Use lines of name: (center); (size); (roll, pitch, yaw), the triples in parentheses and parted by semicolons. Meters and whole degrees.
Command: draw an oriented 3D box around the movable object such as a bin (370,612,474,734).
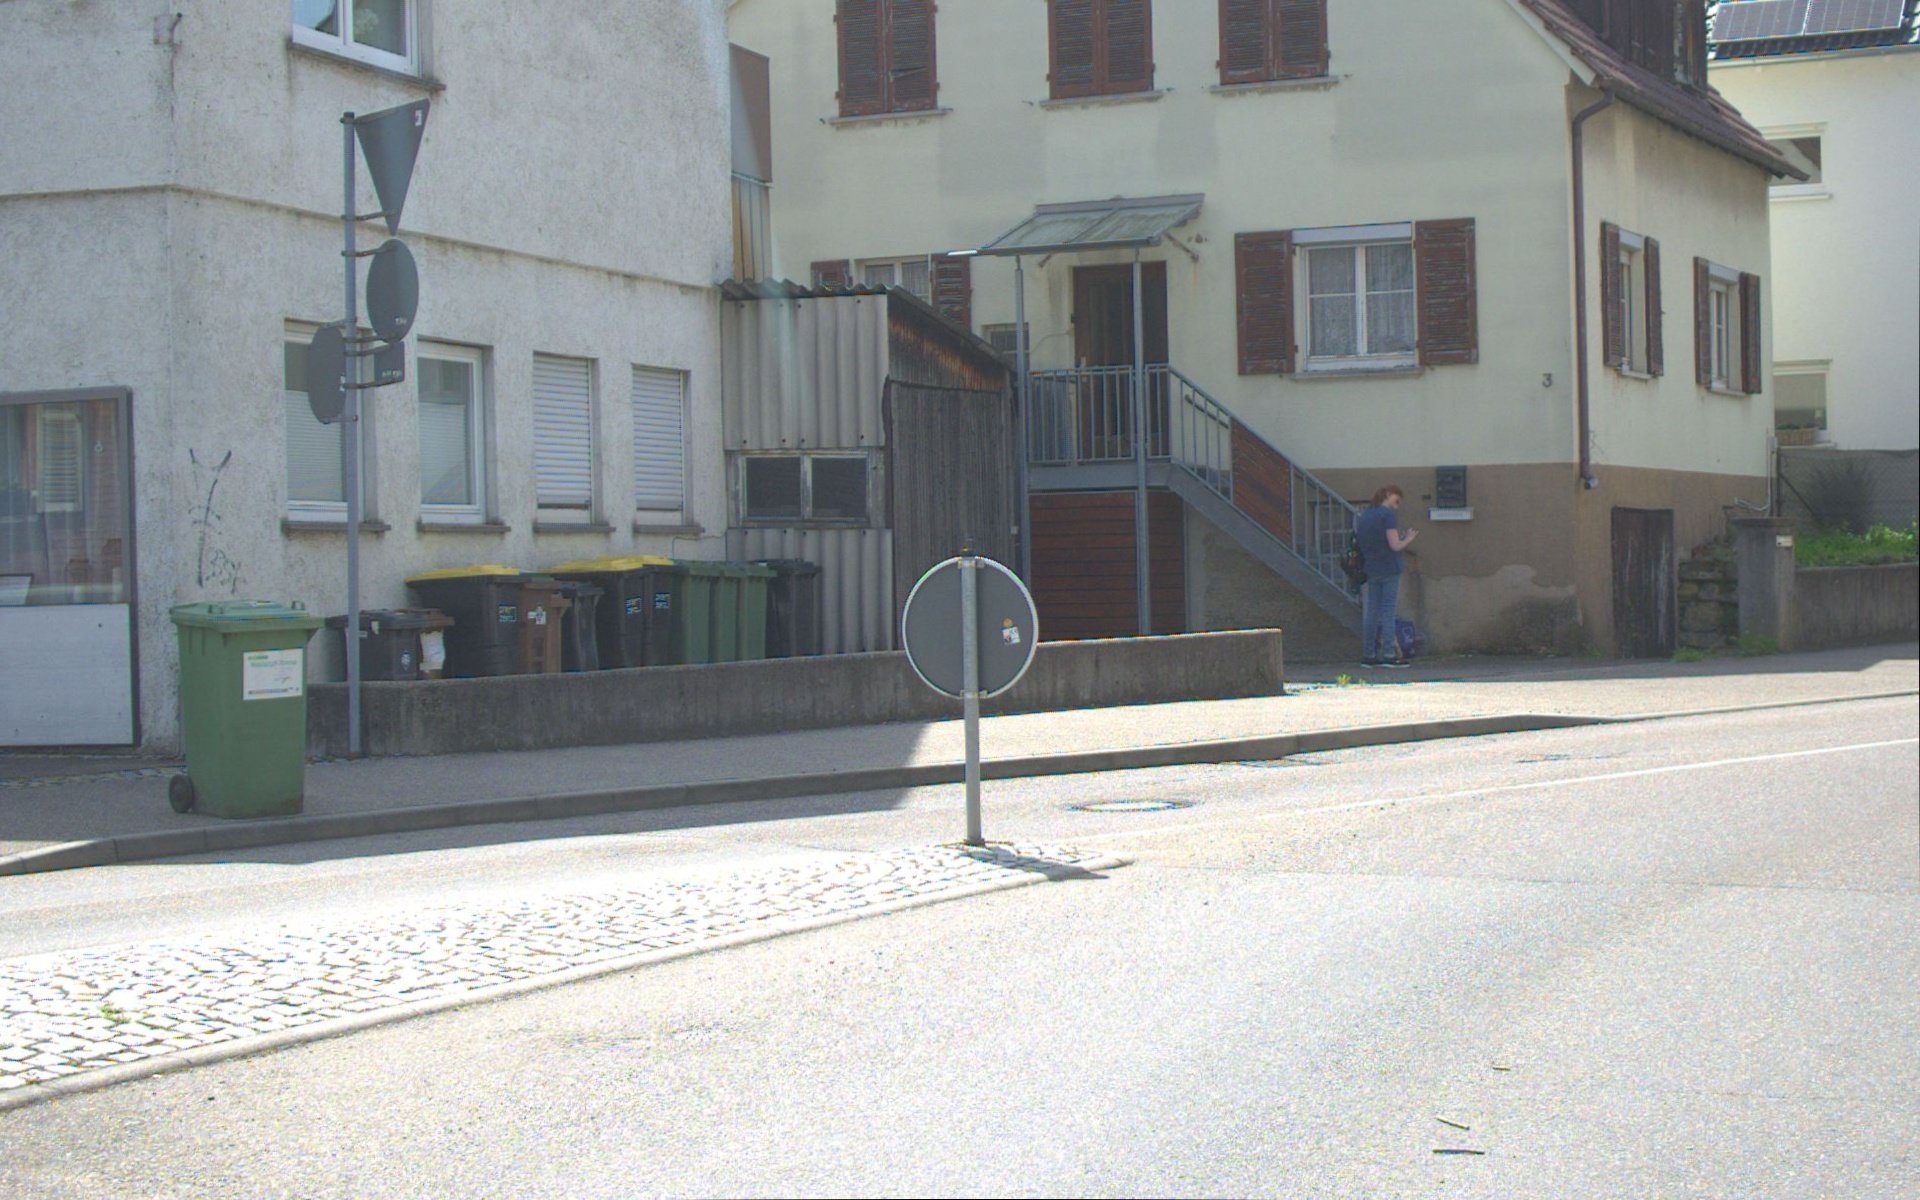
movable object such as a bin: (-3.549, 0.477, 22.700); (0.485, 0.778, 0.527); (0, 2, 16)

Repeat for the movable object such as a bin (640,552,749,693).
movable object such as a bin: (-2.084, 0.171, 27.042); (0.679, 1.078, 0.583); (0, 2, 16)

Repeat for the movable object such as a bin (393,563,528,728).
movable object such as a bin: (-3.373, 0.301, 23.263); (0.683, 1.082, 0.644); (0, 2, 16)

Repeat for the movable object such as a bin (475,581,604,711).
movable object such as a bin: (-3.004, 0.323, 24.614); (0.683, 0.893, 0.698); (0, 2, 16)

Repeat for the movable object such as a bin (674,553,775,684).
movable object such as a bin: (-1.898, 0.142, 27.734); (0.628, 1.031, 0.603); (0, 2, 16)

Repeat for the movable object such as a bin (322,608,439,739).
movable object such as a bin: (-3.727, 0.468, 22.130); (0.485, 0.802, 0.646); (0, 2, 18)

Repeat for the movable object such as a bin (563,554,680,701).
movable object such as a bin: (-2.554, 0.200, 25.952); (0.683, 1.078, 0.625); (0, 2, 16)

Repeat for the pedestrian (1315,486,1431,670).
pedestrian: (3.595, -0.195, 29.908); (0.778, 1.568, 0.626); (0, 2, 34)

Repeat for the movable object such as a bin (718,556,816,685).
movable object such as a bin: (-1.583, 0.166, 28.283); (0.629, 1.030, 0.613); (0, 2, 16)

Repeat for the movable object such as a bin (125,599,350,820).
movable object such as a bin: (-3.662, 0.537, 17.408); (0.824, 1.041, 0.811); (-2, 2, -37)

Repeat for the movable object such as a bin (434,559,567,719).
movable object such as a bin: (-3.193, 0.263, 23.920); (0.683, 1.082, 0.698); (0, 2, 16)

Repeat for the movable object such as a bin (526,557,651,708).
movable object such as a bin: (-2.726, 0.232, 25.291); (0.683, 1.078, 0.698); (0, 2, 16)

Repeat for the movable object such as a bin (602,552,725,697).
movable object such as a bin: (-2.278, 0.183, 26.448); (0.739, 1.078, 0.660); (0, 2, 16)
